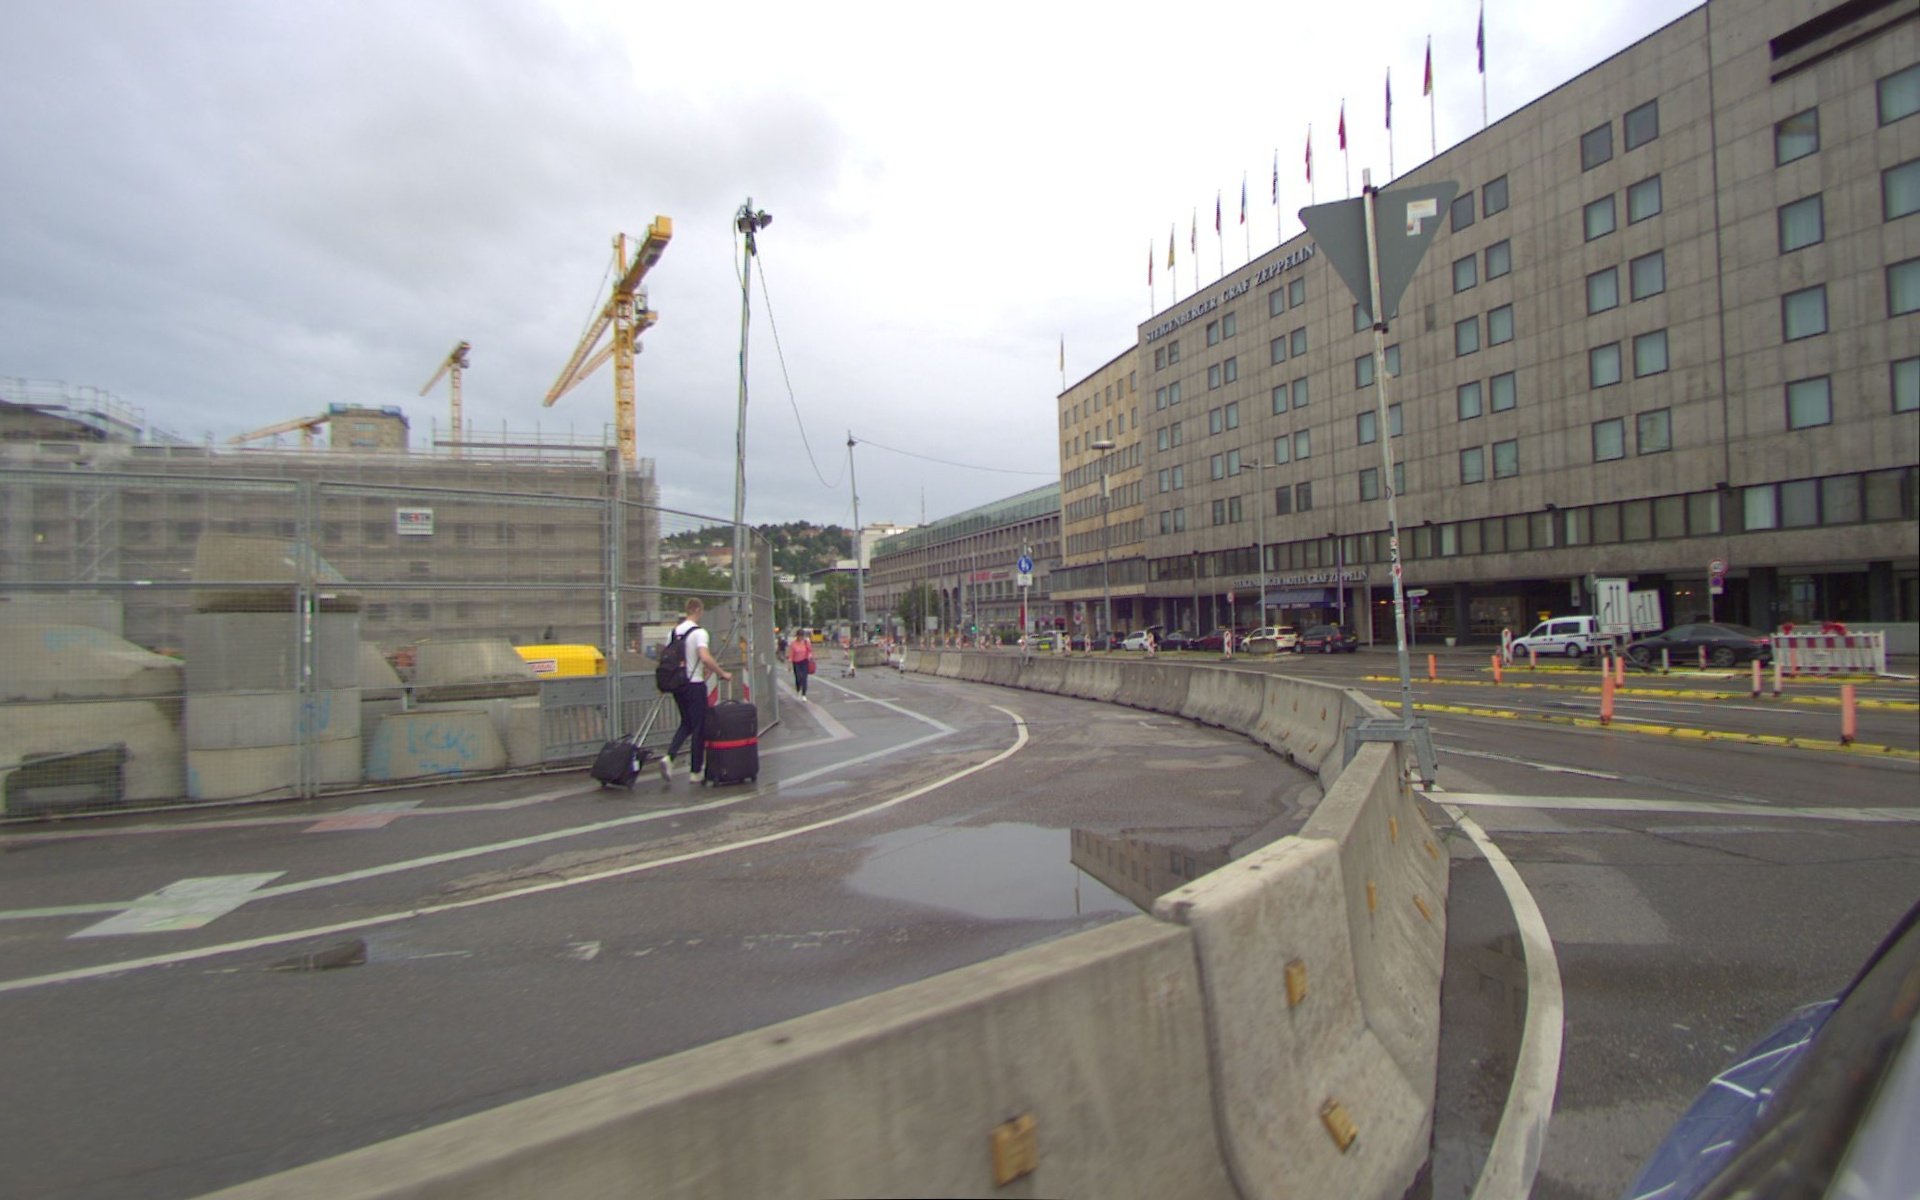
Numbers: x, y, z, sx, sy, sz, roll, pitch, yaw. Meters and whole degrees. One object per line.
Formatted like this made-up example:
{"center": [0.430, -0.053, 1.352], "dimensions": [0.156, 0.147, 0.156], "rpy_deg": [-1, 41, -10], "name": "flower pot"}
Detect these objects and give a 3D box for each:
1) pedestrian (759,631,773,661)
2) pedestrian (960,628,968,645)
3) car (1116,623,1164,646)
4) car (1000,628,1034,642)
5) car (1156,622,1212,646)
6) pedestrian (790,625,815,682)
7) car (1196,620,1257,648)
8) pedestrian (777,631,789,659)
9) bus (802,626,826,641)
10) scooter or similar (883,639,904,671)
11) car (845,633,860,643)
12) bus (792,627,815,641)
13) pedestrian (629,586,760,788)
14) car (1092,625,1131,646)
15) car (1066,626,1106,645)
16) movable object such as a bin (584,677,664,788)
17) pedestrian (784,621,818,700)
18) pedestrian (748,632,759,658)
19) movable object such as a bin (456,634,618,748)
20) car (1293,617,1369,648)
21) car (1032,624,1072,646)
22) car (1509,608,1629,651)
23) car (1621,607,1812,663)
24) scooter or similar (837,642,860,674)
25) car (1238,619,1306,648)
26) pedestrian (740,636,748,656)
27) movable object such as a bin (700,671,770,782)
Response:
{"center": [-11.653, 2.745, 60.770], "dimensions": [0.671, 1.763, 0.909], "rpy_deg": [-1, -2, -16], "name": "pedestrian"}
{"center": [0.503, 4.385, 123.151], "dimensions": [0.691, 2.040, 0.808], "rpy_deg": [-1, -2, -18], "name": "pedestrian"}
{"center": [14.419, 2.776, 81.324], "dimensions": [1.723, 1.781, 4.719], "rpy_deg": [-1, -2, -19], "name": "car"}
{"center": [7.393, 4.546, 131.428], "dimensions": [4.008, 1.661, 1.809], "rpy_deg": [-1, -2, -13], "name": "car"}
{"center": [16.635, 2.535, 75.338], "dimensions": [1.869, 1.681, 4.624], "rpy_deg": [-1, -2, -18], "name": "car"}
{"center": [-5.352, 1.800, 34.359], "dimensions": [0.691, 1.890, 0.991], "rpy_deg": [-1, -2, -14], "name": "pedestrian"}
{"center": [18.388, 2.347, 69.988], "dimensions": [1.868, 1.791, 4.654], "rpy_deg": [-1, -2, -16], "name": "car"}
{"center": [-11.140, 2.833, 63.738], "dimensions": [0.631, 1.763, 0.839], "rpy_deg": [-1, -2, -16], "name": "pedestrian"}
{"center": [-30.913, 7.011, 213.686], "dimensions": [2.850, 2.978, 9.839], "rpy_deg": [-1, -2, -21], "name": "bus"}
{"center": [-2.728, 2.246, 41.623], "dimensions": [0.663, 1.230, 1.573], "rpy_deg": [-1, -2, -10], "name": "scooter or similar"}
{"center": [-18.229, 6.389, 171.190], "dimensions": [1.742, 1.691, 4.507], "rpy_deg": [0, -2, -17], "name": "car"}
{"center": [-34.505, 7.415, 222.994], "dimensions": [2.850, 2.978, 9.839], "rpy_deg": [-1, -2, -21], "name": "bus"}
{"center": [-2.641, 0.834, 10.080], "dimensions": [0.993, 1.889, 0.771], "rpy_deg": [-3, -2, 28], "name": "pedestrian"}
{"center": [12.888, 3.035, 86.261], "dimensions": [1.723, 1.703, 4.235], "rpy_deg": [-1, -2, -15], "name": "car"}
{"center": [11.321, 3.229, 91.492], "dimensions": [1.723, 1.642, 4.572], "rpy_deg": [-1, -2, -19], "name": "car"}
{"center": [-3.308, 1.286, 9.980], "dimensions": [0.514, 1.029, 0.548], "rpy_deg": [-3, -2, 28], "name": "movable object such as a bin"}
{"center": [-3.908, 1.470, 24.820], "dimensions": [0.706, 1.890, 0.710], "rpy_deg": [-1, -2, -16], "name": "pedestrian"}
{"center": [-15.071, 3.287, 73.872], "dimensions": [0.671, 1.914, 0.694], "rpy_deg": [-1, -2, -17], "name": "pedestrian"}
{"center": [-5.863, 1.237, 14.169], "dimensions": [1.856, 1.490, 1.189], "rpy_deg": [1, -1, -9], "name": "movable object such as a bin"}
{"center": [21.789, 1.907, 59.651], "dimensions": [1.784, 1.750, 4.522], "rpy_deg": [-1, -2, -16], "name": "car"}
{"center": [8.960, 3.456, 98.930], "dimensions": [1.866, 1.954, 5.083], "rpy_deg": [0, -3, -19], "name": "car"}
{"center": [26.811, 1.312, 44.752], "dimensions": [1.742, 1.785, 4.379], "rpy_deg": [-1, -2, -19], "name": "car"}
{"center": [24.260, 1.129, 32.723], "dimensions": [1.976, 1.619, 4.671], "rpy_deg": [-1, -2, -14], "name": "car"}
{"center": [-4.319, 2.217, 39.035], "dimensions": [0.459, 1.198, 1.417], "rpy_deg": [-1, -2, -24], "name": "scooter or similar"}
{"center": [19.954, 2.163, 64.907], "dimensions": [1.784, 1.720, 4.586], "rpy_deg": [-1, -2, -18], "name": "car"}
{"center": [-22.901, 4.847, 107.137], "dimensions": [0.773, 2.038, 0.866], "rpy_deg": [-1, -2, -9], "name": "pedestrian"}
{"center": [-2.212, 1.229, 9.964], "dimensions": [0.428, 1.029, 0.517], "rpy_deg": [-3, -2, 28], "name": "movable object such as a bin"}
